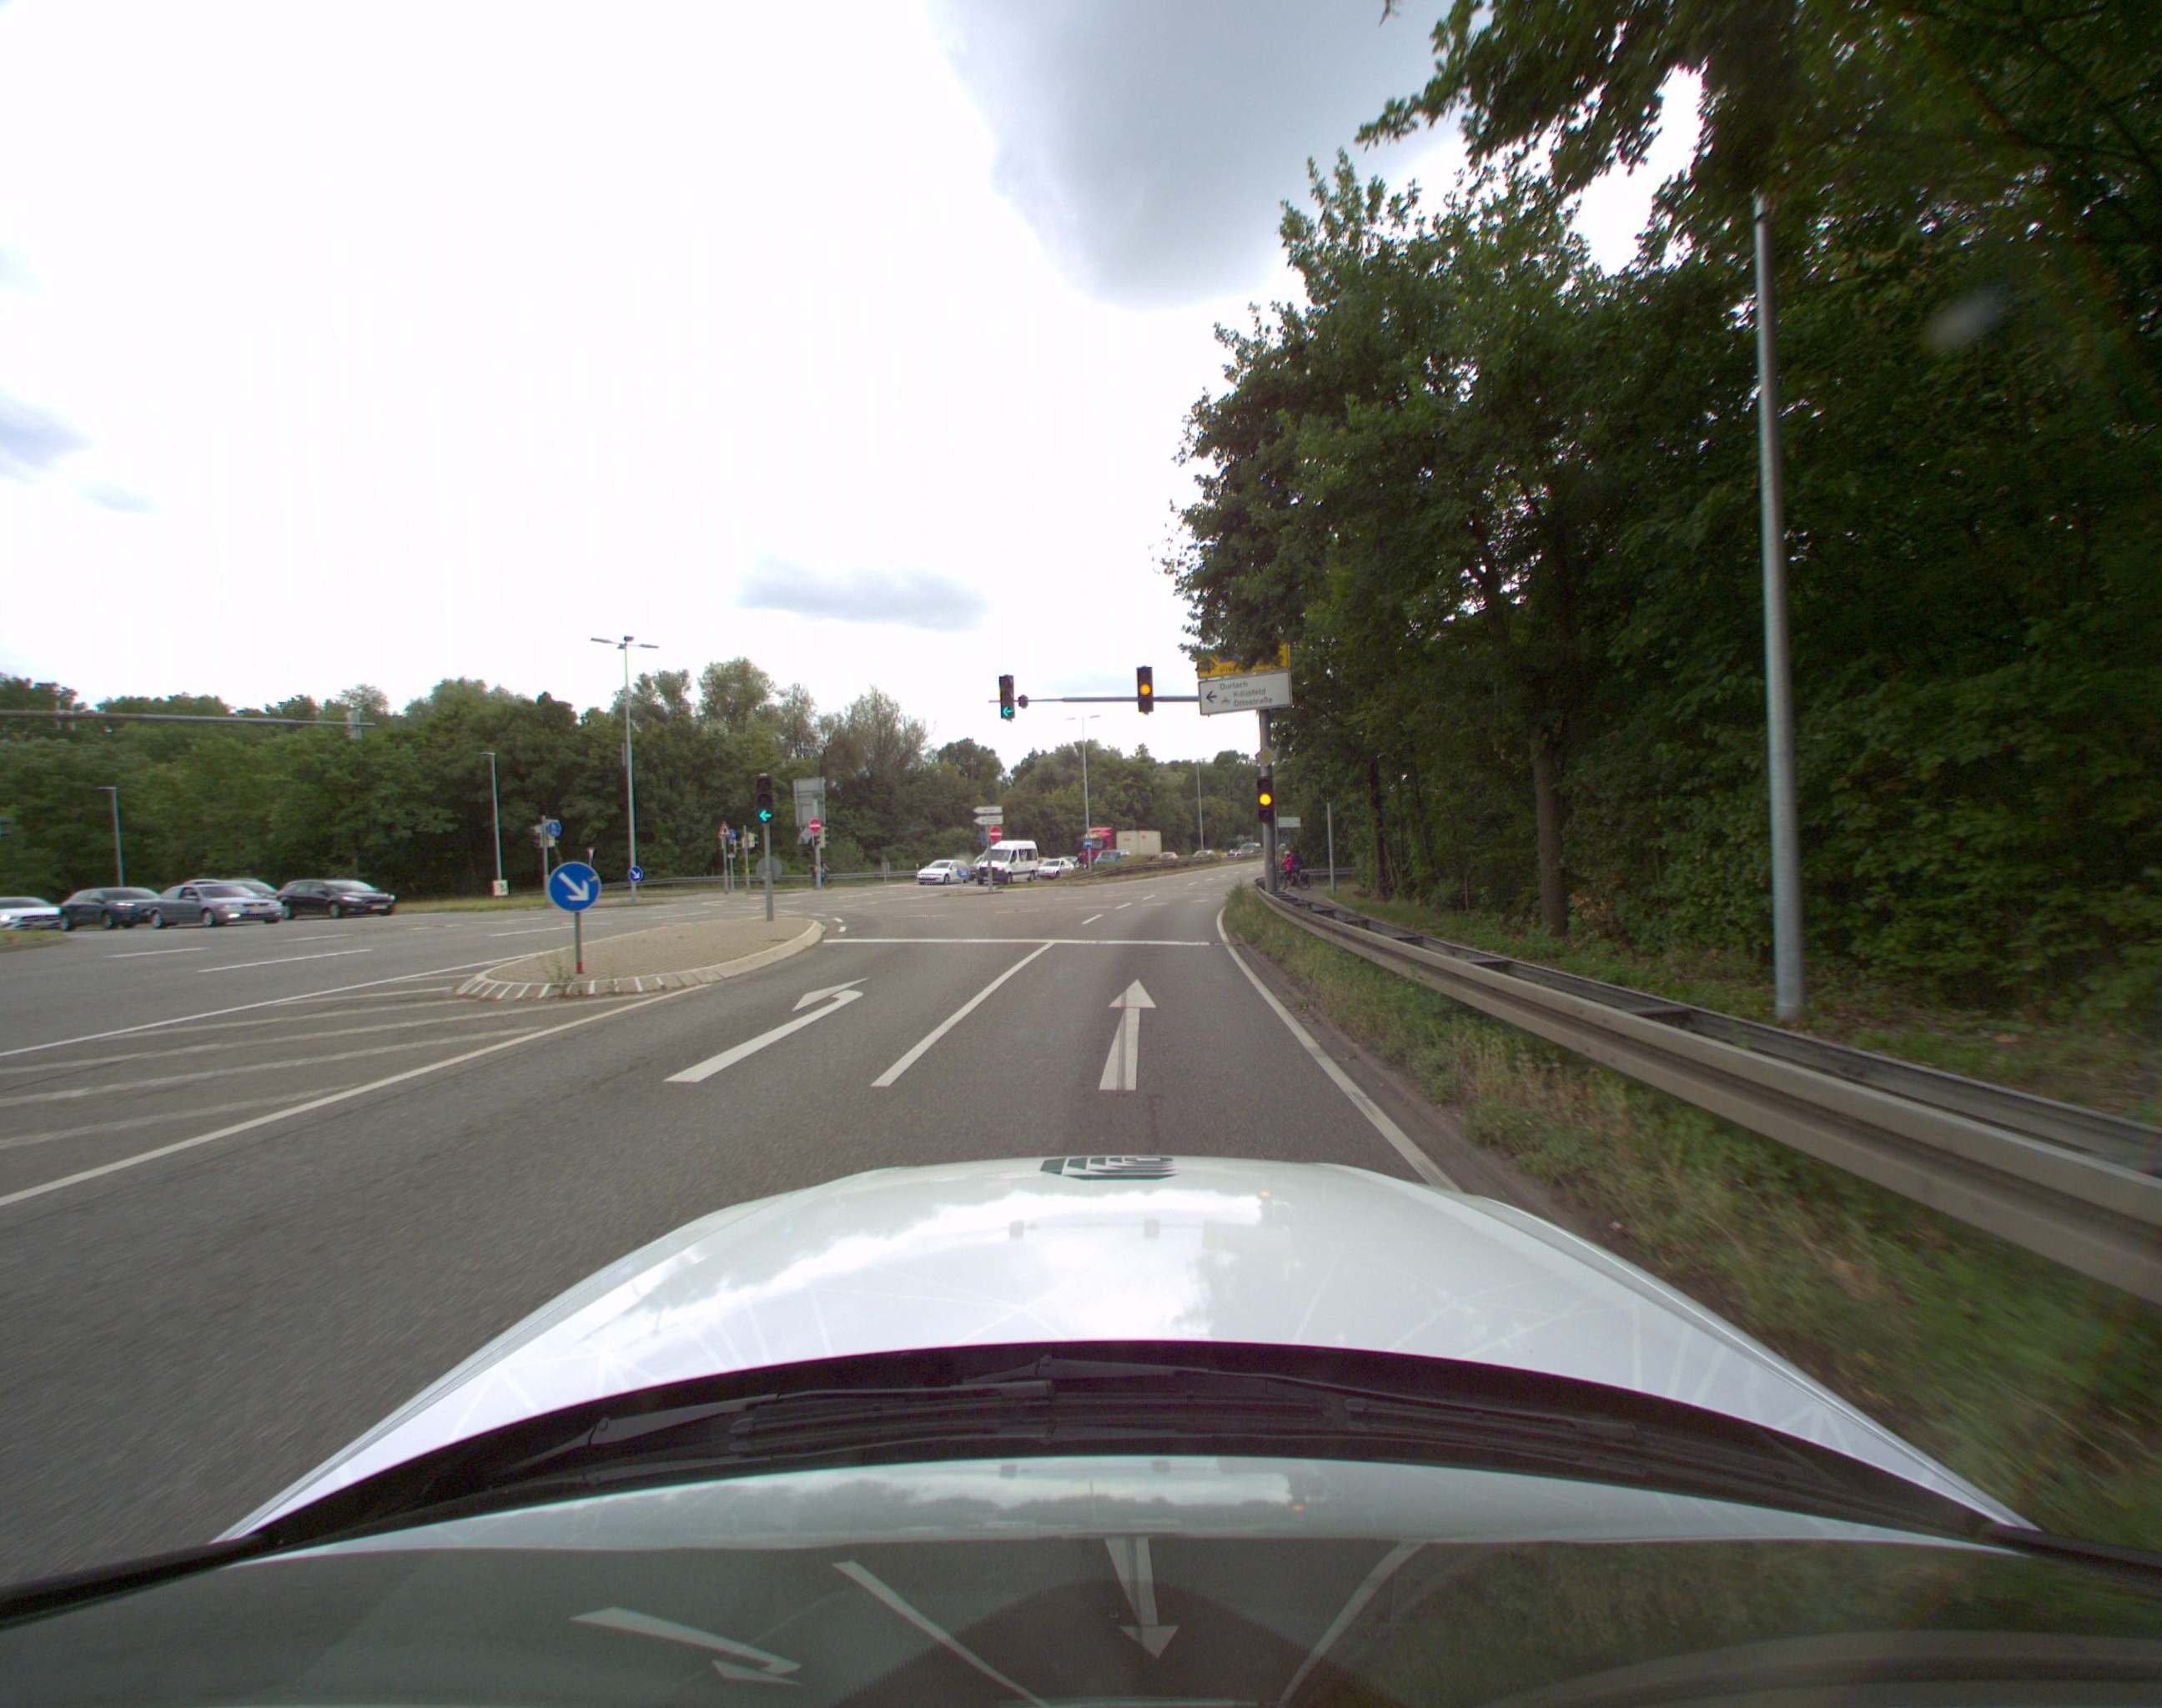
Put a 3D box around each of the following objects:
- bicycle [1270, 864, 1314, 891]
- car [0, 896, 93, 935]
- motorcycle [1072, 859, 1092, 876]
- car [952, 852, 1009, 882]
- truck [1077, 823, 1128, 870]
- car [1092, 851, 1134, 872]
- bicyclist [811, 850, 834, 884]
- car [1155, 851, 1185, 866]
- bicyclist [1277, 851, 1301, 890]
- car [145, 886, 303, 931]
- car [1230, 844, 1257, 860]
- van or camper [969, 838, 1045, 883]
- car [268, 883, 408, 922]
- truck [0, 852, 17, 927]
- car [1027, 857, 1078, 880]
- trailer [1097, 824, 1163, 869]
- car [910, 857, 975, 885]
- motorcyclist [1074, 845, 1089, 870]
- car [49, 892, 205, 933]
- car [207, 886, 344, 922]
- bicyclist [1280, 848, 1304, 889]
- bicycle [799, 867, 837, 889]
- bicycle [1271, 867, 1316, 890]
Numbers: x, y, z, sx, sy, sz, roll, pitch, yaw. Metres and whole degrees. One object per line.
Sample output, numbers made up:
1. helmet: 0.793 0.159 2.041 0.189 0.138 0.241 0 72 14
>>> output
1. bicycle: 9.410 1.070 36.348 1.725 1.138 0.634 -3 -1 28
2. car: -40.250 2.304 30.830 4.291 1.310 2.008 -1 0 15
3. motorcycle: 0.079 1.008 60.403 0.792 1.224 2.338 -1 0 19
4. car: -6.657 0.836 54.445 1.976 1.902 4.189 -1 0 22
5. truck: 2.028 -0.656 74.790 2.544 4.083 5.656 -1 0 26
6. car: 2.751 0.597 68.664 1.788 1.729 4.988 -1 0 23
7. bicyclist: -13.628 0.677 42.940 0.736 1.735 0.805 -3 -1 26
8. car: 8.956 0.395 81.950 1.788 1.432 4.149 -1 0 24
9. bicyclist: 9.314 0.732 36.395 0.843 1.732 0.641 -2 -1 28
10. car: -28.100 1.765 26.746 3.765 1.310 2.008 -1 0 15
11. car: 20.561 -0.247 102.662 1.991 1.863 5.309 -1 0 26
12. van or camper: -4.446 0.370 50.320 2.142 2.589 6.527 -1 0 19
13. car: -27.775 1.791 30.475 4.027 1.310 2.008 -1 0 15
14. truck: -49.570 1.566 33.923 9.178 3.135 2.983 -1 0 14
15. car: -1.933 0.986 56.630 1.977 1.498 4.422 -1 0 20
16. trailer: 5.056 -0.754 81.019 2.511 4.147 10.835 -1 0 26
17. car: -8.297 1.009 49.190 1.978 1.547 4.559 -1 0 18
18. motorcyclist: 0.035 0.286 60.514 0.858 1.823 0.930 -1 -1 19
19. car: -34.292 2.075 29.302 4.291 1.310 2.008 -1 0 15
20. car: -33.246 2.058 33.655 4.525 1.310 2.008 -1 0 15
21. bicyclist: 9.772 0.672 37.776 0.942 1.844 0.666 -4 -1 11
22. bicycle: -13.882 1.268 42.995 1.920 1.052 0.712 -4 -2 25
23. bicycle: 9.823 1.116 37.747 1.958 0.941 0.663 -3 -1 11
